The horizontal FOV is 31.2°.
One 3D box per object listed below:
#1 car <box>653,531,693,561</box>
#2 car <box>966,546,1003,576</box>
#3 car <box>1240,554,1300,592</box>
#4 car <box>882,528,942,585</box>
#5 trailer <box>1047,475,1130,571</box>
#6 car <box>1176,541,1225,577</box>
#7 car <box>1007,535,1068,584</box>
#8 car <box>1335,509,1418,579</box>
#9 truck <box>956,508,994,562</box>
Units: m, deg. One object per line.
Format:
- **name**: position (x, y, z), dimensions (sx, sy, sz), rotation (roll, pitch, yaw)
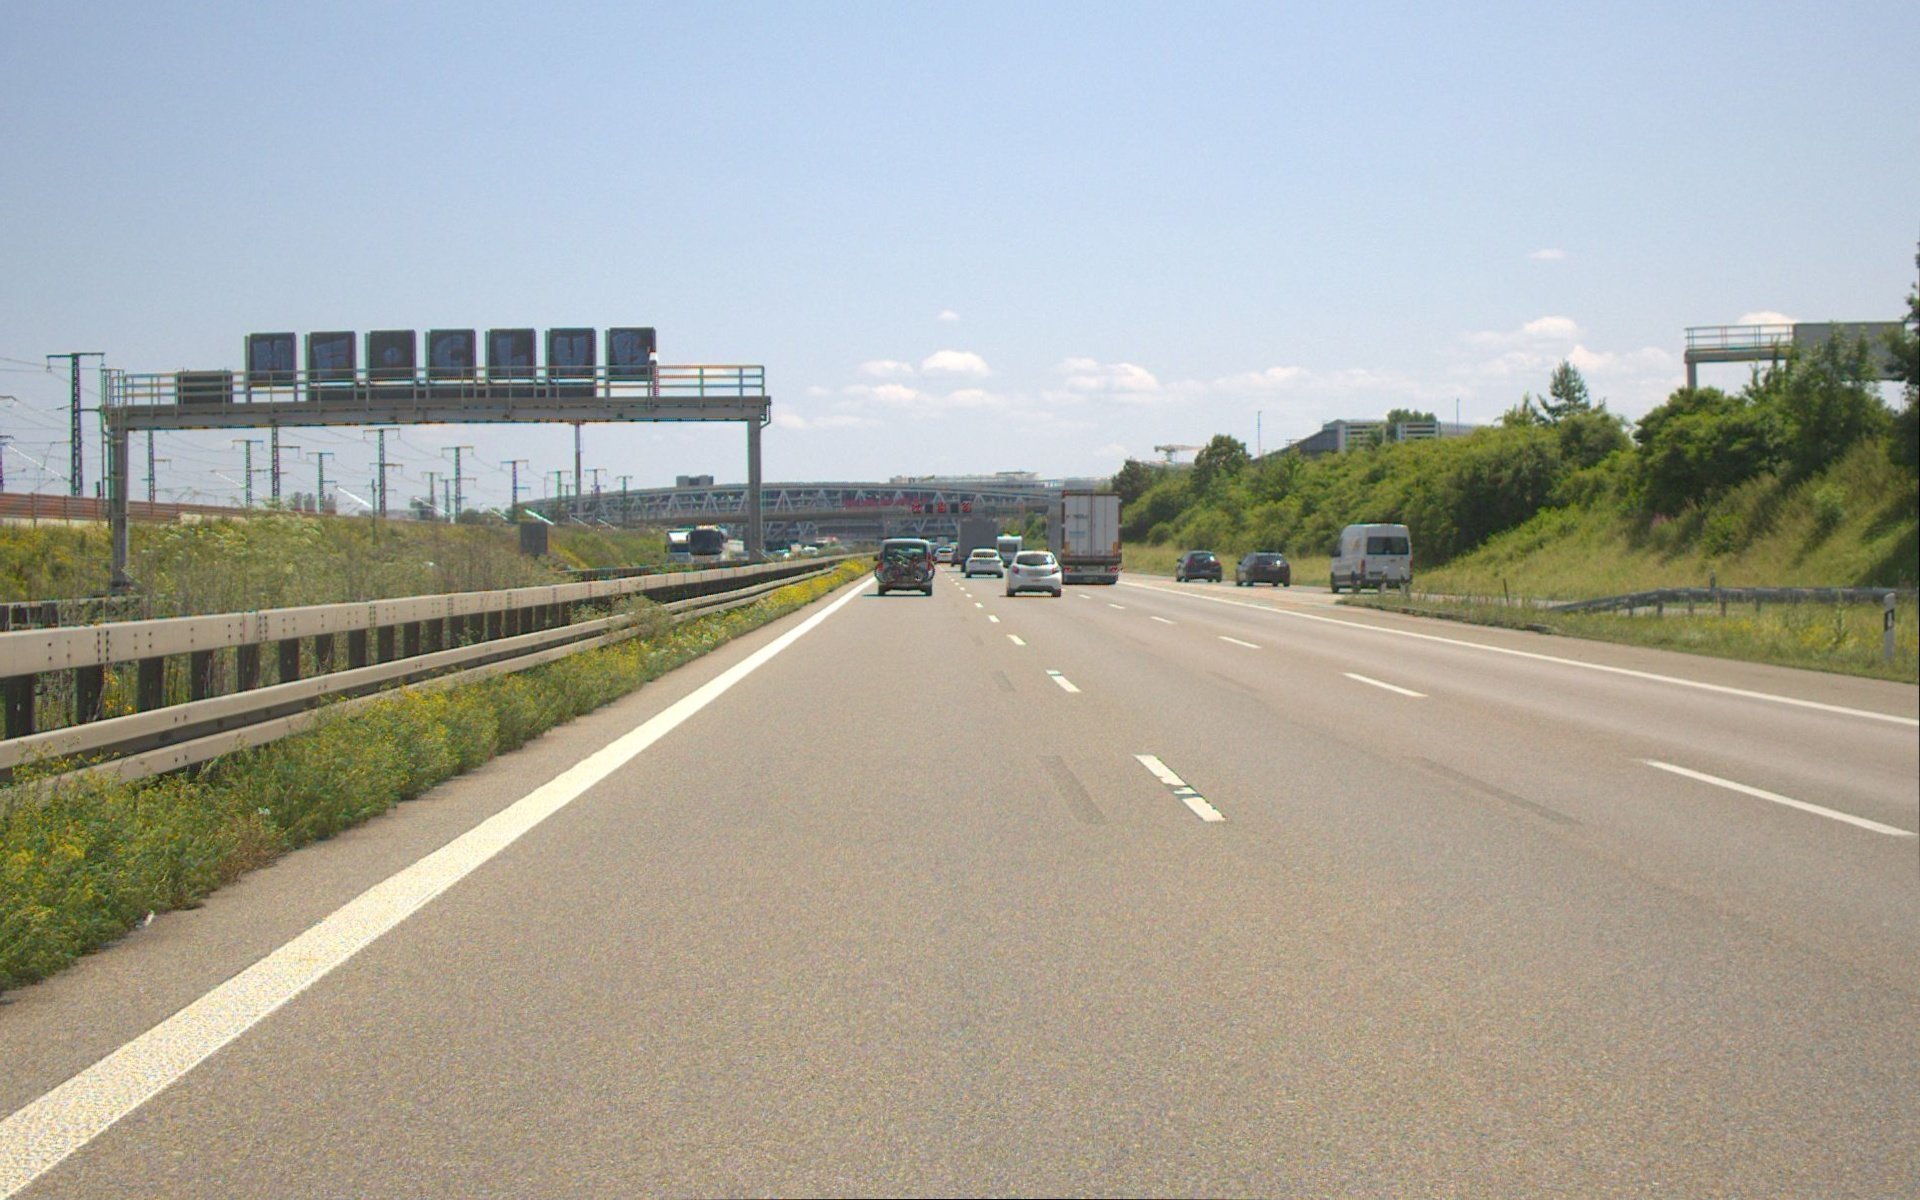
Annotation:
- **car**: position (-15.374, -2.896, 184.438), dimensions (1.804, 1.568, 4.000), rotation (0, 1, 0)
- **car**: position (1.289, -2.016, 177.965), dimensions (1.881, 1.521, 4.000), rotation (1, 0, 0)
- **car**: position (13.199, -1.151, 146.511), dimensions (1.993, 1.503, 4.000), rotation (1, 0, -3)
- **car**: position (-1.543, -1.390, 110.995), dimensions (1.880, 1.769, 4.000), rotation (-1, 0, 0)
- **trailer**: position (5.601, -3.376, 151.442), dimensions (3.177, 4.045, 9.440), rotation (-1, 1, 0)
- **car**: position (11.653, -1.985, 166.729), dimensions (1.993, 1.590, 4.000), rotation (1, 0, -1)
- **car**: position (2.508, -1.289, 111.003), dimensions (1.881, 1.521, 4.000), rotation (1, 0, 2)
- **car**: position (15.410, -2.091, 127.512), dimensions (2.274, 2.519, 5.400), rotation (0, 1, -2)
- **truck**: position (0.967, -4.166, 220.316), dimensions (2.355, 3.404, 6.057), rotation (0, 1, 0)
